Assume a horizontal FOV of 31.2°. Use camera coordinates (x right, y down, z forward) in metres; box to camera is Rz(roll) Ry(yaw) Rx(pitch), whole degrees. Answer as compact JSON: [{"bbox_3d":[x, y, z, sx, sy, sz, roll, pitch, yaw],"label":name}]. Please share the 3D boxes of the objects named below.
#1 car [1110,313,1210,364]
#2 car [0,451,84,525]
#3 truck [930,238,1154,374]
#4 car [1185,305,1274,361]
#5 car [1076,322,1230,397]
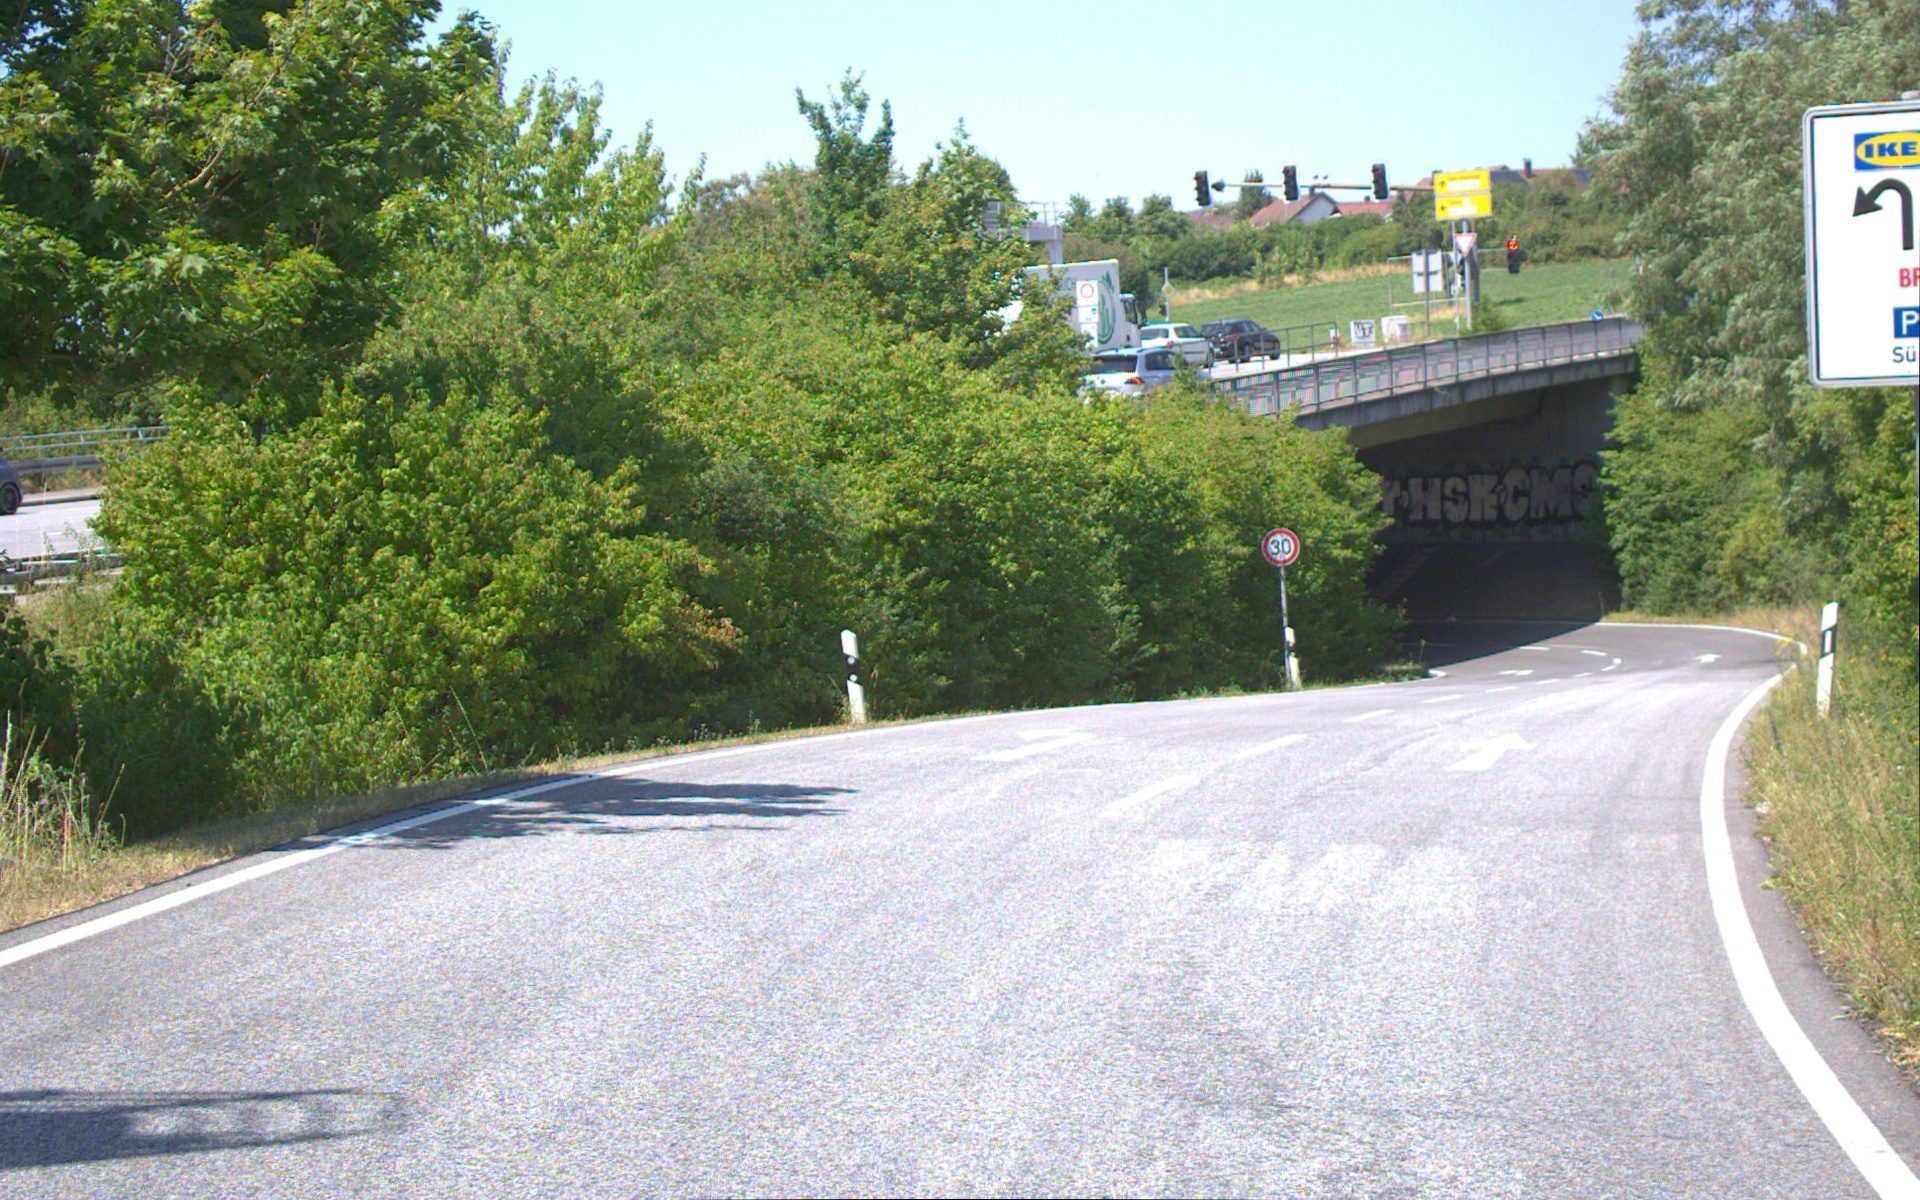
[{"bbox_3d":[6.224,-8.102,106.708,1.899,1.358,3.996,0,2,22],"label":"car"},{"bbox_3d":[-19.829,-2.164,67.109,2.154,1.437,5.831,0,2,23],"label":"car"},{"bbox_3d":[2.510,-8.516,100.317,3.031,3.577,8.893,-3,3,25],"label":"truck"},{"bbox_3d":[8.908,-8.775,113.369,1.995,1.612,3.997,0,1,19],"label":"car"},{"bbox_3d":[4.173,-5.155,73.767,1.996,1.416,3.996,-3,3,23],"label":"car"}]
